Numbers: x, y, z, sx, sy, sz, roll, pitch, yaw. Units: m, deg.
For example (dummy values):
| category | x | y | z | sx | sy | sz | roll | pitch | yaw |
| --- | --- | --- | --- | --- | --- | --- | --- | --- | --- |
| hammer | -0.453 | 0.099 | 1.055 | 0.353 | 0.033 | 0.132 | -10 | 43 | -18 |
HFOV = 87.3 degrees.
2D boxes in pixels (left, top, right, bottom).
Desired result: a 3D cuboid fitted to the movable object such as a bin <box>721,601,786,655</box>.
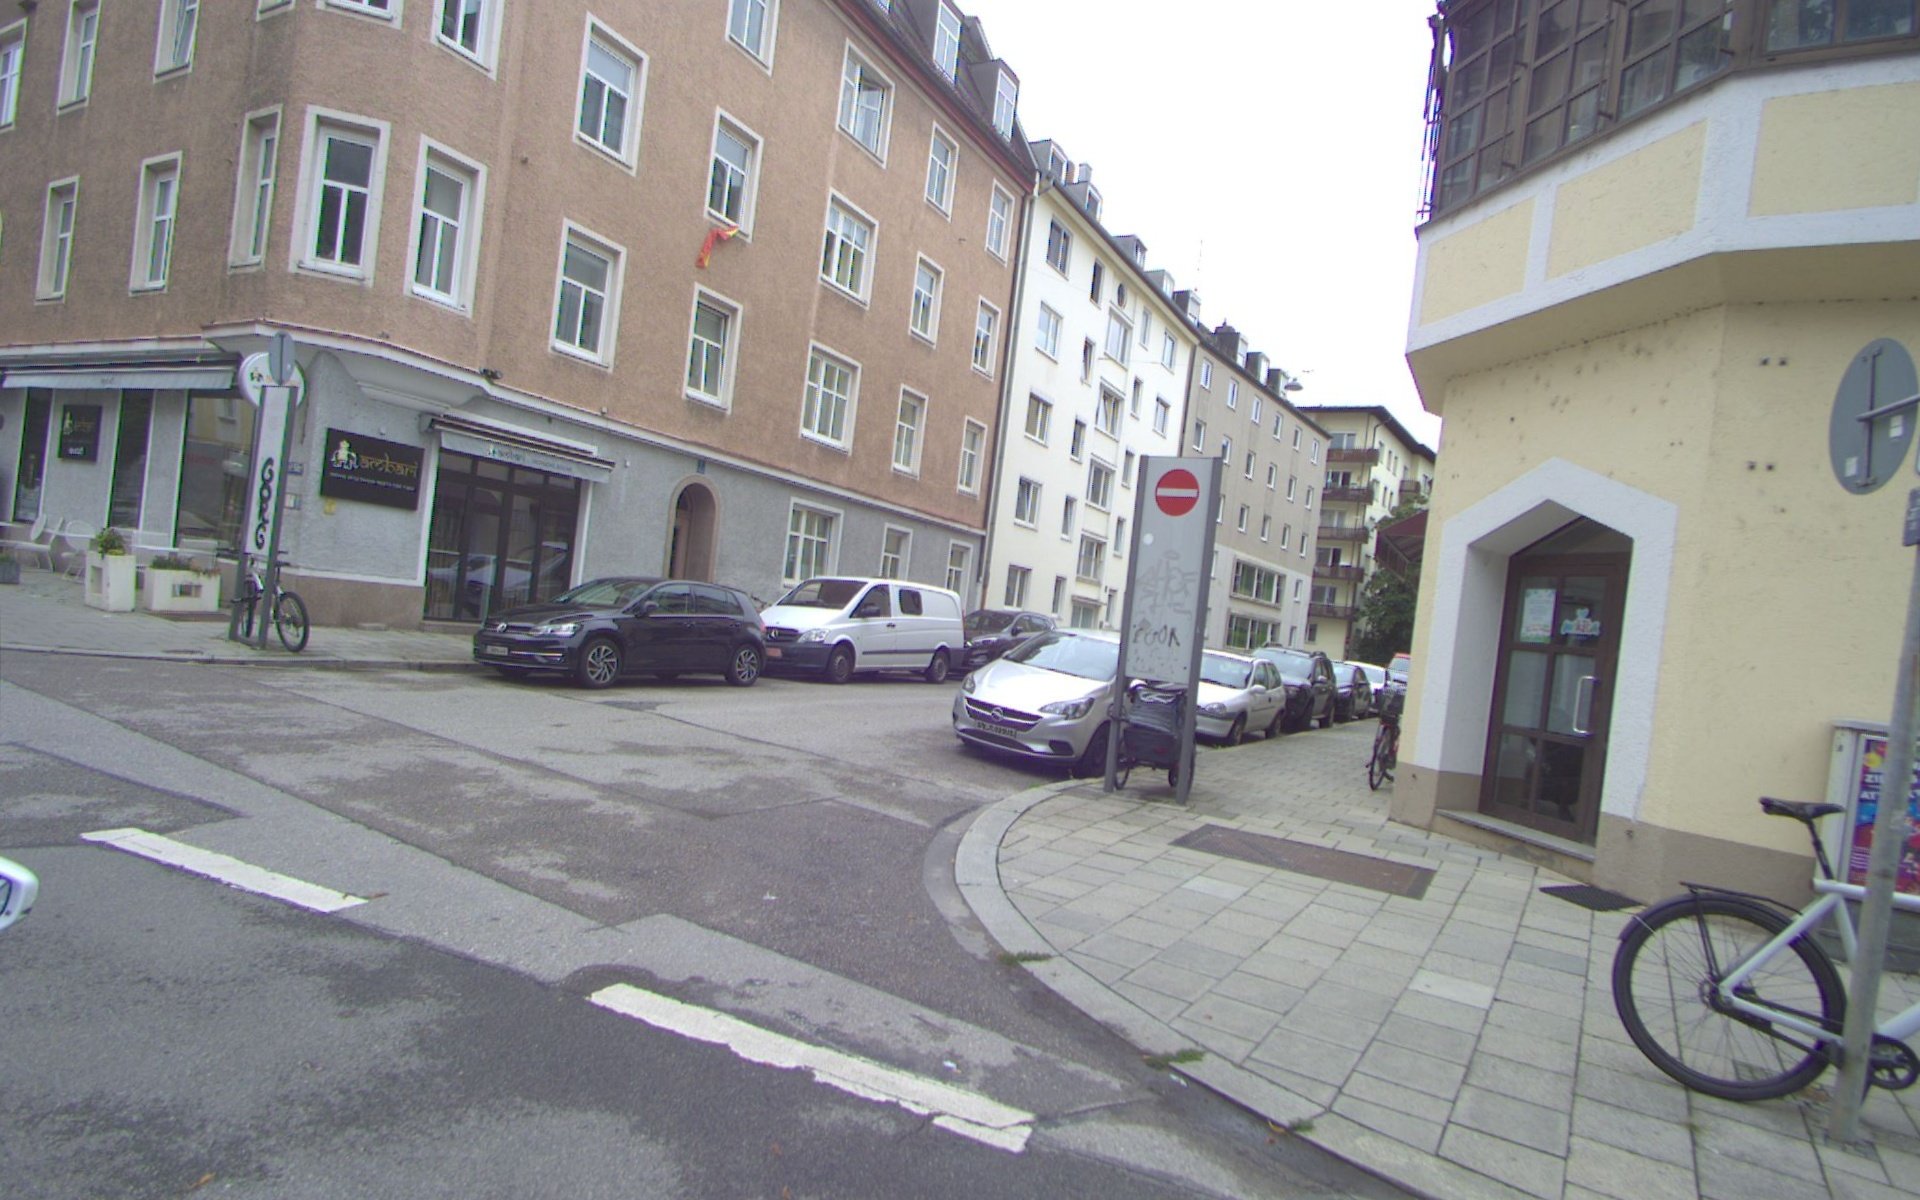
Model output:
| category | x | y | z | sx | sy | sz | roll | pitch | yaw |
| --- | --- | --- | --- | --- | --- | --- | --- | --- | --- |
| movable object such as a bin | -4.168 | 0.567 | 20.316 | 0.951 | 0.962 | 0.734 | 8 | 1 | 22 |

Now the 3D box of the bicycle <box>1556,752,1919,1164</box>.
| category | x | y | z | sx | sy | sz | roll | pitch | yaw |
| --- | --- | --- | --- | --- | --- | --- | --- | --- | --- |
| bicycle | 3.334 | 1.303 | 3.537 | 2.019 | 1.173 | 0.430 | 6 | 1 | 31 |

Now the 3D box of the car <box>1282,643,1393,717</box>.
| category | x | y | z | sx | sy | sz | roll | pitch | yaw |
| --- | --- | --- | --- | --- | --- | --- | --- | --- | --- |
| car | 10.153 | 2.145 | 26.851 | 1.945 | 1.587 | 4.425 | 7 | -1 | 30 |

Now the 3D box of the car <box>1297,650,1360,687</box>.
| category | x | y | z | sx | sy | sz | roll | pitch | yaw |
| --- | --- | --- | --- | --- | --- | --- | --- | --- | --- |
| car | 19.761 | 3.672 | 53.862 | 1.947 | 1.587 | 4.419 | 6 | -1 | 35 |

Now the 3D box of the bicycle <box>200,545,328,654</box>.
| category | x | y | z | sx | sy | sz | roll | pitch | yaw |
| --- | --- | --- | --- | --- | --- | --- | --- | --- | --- |
| bicycle | -8.028 | -0.019 | 11.576 | 1.773 | 1.018 | 0.496 | 8 | 3 | 32 |

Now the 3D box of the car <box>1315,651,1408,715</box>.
| category | x | y | z | sx | sy | sz | roll | pitch | yaw |
| --- | --- | --- | --- | --- | --- | --- | --- | --- | --- |
| car | 12.409 | 2.544 | 30.930 | 1.945 | 1.587 | 4.425 | 7 | -1 | 30 |

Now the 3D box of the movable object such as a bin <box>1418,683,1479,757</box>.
| category | x | y | z | sx | sy | sz | roll | pitch | yaw |
| --- | --- | --- | --- | --- | --- | --- | --- | --- | --- |
| movable object such as a bin | 8.246 | 1.996 | 16.966 | 0.754 | 1.094 | 1.124 | 7 | 0 | 30 |

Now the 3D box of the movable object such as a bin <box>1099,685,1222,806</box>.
| category | x | y | z | sx | sy | sz | roll | pitch | yaw |
| --- | --- | --- | --- | --- | --- | --- | --- | --- | --- |
| movable object such as a bin | 1.818 | 1.269 | 9.035 | 0.672 | 0.911 | 1.124 | 7 | 0 | 30 |

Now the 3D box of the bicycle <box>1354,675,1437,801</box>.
| category | x | y | z | sx | sy | sz | roll | pitch | yaw |
| --- | --- | --- | --- | --- | --- | --- | --- | --- | --- |
| bicycle | 4.809 | 1.458 | 11.051 | 0.506 | 1.201 | 1.903 | 7 | 0 | 30 |

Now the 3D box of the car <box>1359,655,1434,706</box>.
| category | x | y | z | sx | sy | sz | roll | pitch | yaw |
| --- | --- | --- | --- | --- | --- | --- | --- | --- | --- |
| car | 16.760 | 3.099 | 38.533 | 1.945 | 1.587 | 4.424 | 7 | -1 | 31 |

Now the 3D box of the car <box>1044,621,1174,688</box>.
| category | x | y | z | sx | sy | sz | roll | pitch | yaw |
| --- | --- | --- | --- | --- | --- | --- | --- | --- | --- |
| car | 4.492 | 1.651 | 29.685 | 1.946 | 1.521 | 4.662 | 7 | -2 | 32 |

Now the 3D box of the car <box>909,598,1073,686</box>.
| category | x | y | z | sx | sy | sz | roll | pitch | yaw |
| --- | --- | --- | --- | --- | --- | --- | --- | --- | --- |
| car | 0.821 | 1.009 | 23.229 | 1.945 | 1.664 | 3.989 | 6 | 0 | 31 |

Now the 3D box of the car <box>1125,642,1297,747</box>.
| category | x | y | z | sx | sy | sz | roll | pitch | yaw |
| --- | --- | --- | --- | --- | --- | --- | --- | --- | --- |
| car | 4.200 | 1.498 | 16.474 | 1.612 | 1.354 | 3.447 | 6 | 0 | 33 |

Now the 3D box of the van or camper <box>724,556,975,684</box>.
| category | x | y | z | sx | sy | sz | roll | pitch | yaw |
| --- | --- | --- | --- | --- | --- | --- | --- | --- | --- |
| van or camper | -1.840 | 0.467 | 18.549 | 1.928 | 1.942 | 4.908 | 5 | -2 | 30 |

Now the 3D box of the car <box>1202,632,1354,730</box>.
| category | x | y | z | sx | sy | sz | roll | pitch | yaw |
| --- | --- | --- | --- | --- | --- | --- | --- | --- | --- |
| car | 6.672 | 1.673 | 20.835 | 1.952 | 1.603 | 4.021 | 6 | -1 | 31 |

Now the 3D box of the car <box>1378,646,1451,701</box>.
| category | x | y | z | sx | sy | sz | roll | pitch | yaw |
| --- | --- | --- | --- | --- | --- | --- | --- | --- | --- |
| car | 19.418 | 3.179 | 42.915 | 2.032 | 2.002 | 4.422 | 7 | -1 | 33 |

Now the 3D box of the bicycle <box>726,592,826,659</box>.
| category | x | y | z | sx | sy | sz | roll | pitch | yaw |
| --- | --- | --- | --- | --- | --- | --- | --- | --- | --- |
| bicycle | -3.811 | 0.527 | 20.822 | 1.892 | 1.158 | 0.475 | 7 | 1 | 13 |

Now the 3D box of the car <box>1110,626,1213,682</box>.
| category | x | y | z | sx | sy | sz | roll | pitch | yaw |
| --- | --- | --- | --- | --- | --- | --- | --- | --- | --- |
| car | 7.033 | 1.894 | 34.737 | 1.945 | 1.588 | 4.661 | 6 | 0 | 30 |

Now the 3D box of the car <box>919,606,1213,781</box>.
| category | x | y | z | sx | sy | sz | roll | pitch | yaw |
| --- | --- | --- | --- | --- | --- | --- | --- | --- | --- |
| car | 1.392 | 1.041 | 11.725 | 1.723 | 1.458 | 3.737 | 10 | 2 | 33 |

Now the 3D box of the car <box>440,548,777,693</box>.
| category | x | y | z | sx | sy | sz | roll | pitch | yaw |
| --- | --- | --- | --- | --- | --- | --- | --- | --- | --- |
| car | -4.486 | 0.351 | 13.432 | 1.860 | 1.505 | 3.879 | 6 | -1 | 30 |
